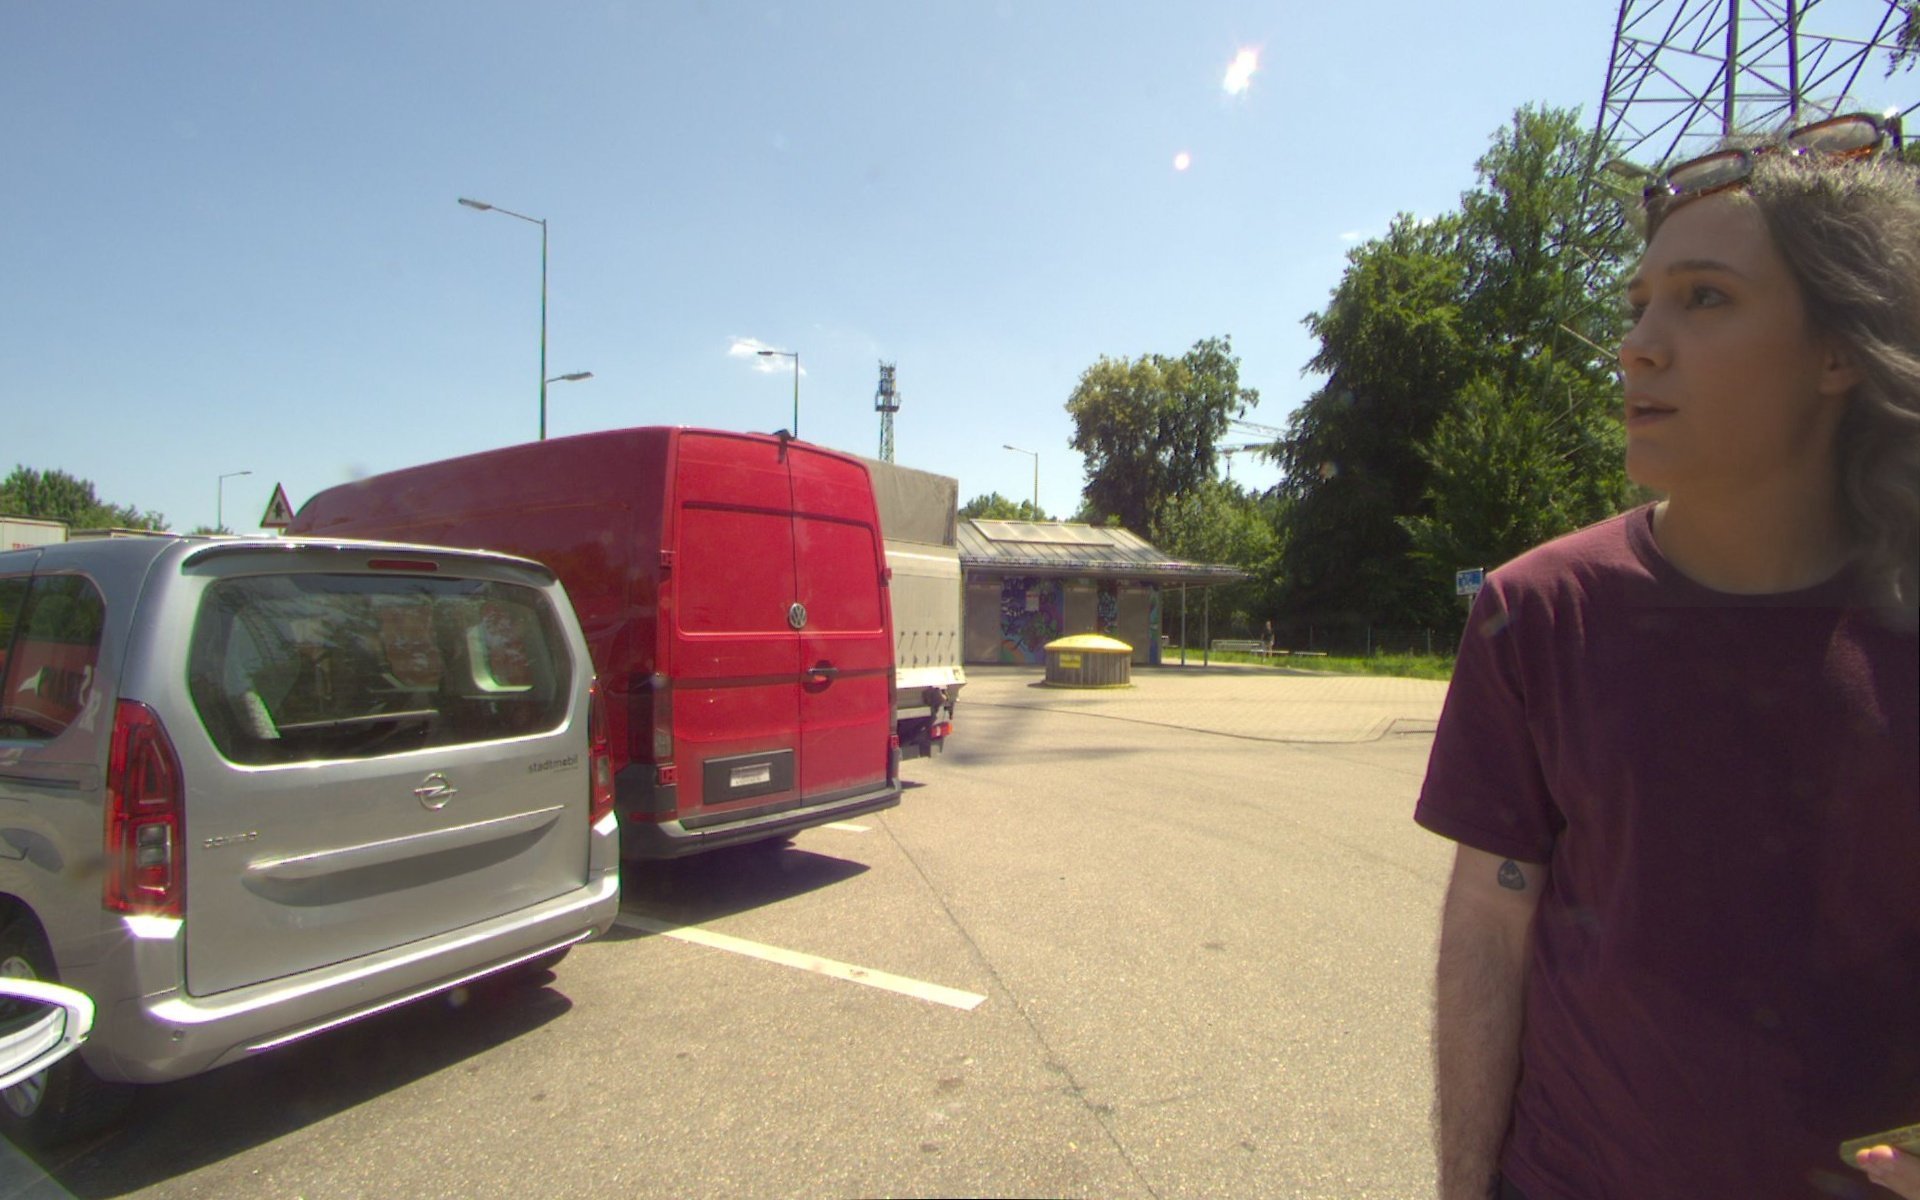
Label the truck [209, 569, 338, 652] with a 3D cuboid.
[{"bbox_3d":[-32.099,0.461,46.774,5.813,3.566,2.799,2,-2,32],"label":"truck"}]

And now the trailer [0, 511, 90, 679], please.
[{"bbox_3d":[-29.020,-0.264,28.156,14.184,4.040,2.808,2,-2,33],"label":"trailer"}]

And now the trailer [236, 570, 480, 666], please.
[{"bbox_3d":[-26.104,0.641,42.917,14.184,3.552,2.808,2,-2,33],"label":"trailer"}]

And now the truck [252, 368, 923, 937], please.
[{"bbox_3d":[-2.891,0.337,7.064,5.238,2.655,1.972,-2,-2,38],"label":"truck"}]

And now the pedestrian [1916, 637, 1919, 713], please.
[{"bbox_3d":[17.254,1.325,17.495,0.690,1.352,0.561,-1,-1,33],"label":"pedestrian"}]

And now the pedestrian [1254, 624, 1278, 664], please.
[{"bbox_3d":[12.888,1.849,42.175,0.728,1.658,0.787,-1,-2,38],"label":"pedestrian"}]

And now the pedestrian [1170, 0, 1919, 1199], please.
[{"bbox_3d":[0.763,0.572,0.835,0.851,1.857,0.858,-1,-2,39],"label":"pedestrian"}]

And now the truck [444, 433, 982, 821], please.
[{"bbox_3d":[-2.740,0.305,10.303,5.581,2.949,2.449,-2,-2,37],"label":"truck"}]

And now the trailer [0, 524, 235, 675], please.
[{"bbox_3d":[-27.957,-0.106,31.802,14.184,4.040,2.808,2,-2,33],"label":"trailer"}]

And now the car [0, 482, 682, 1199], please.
[{"bbox_3d":[-3.384,0.687,4.265,4.113,1.887,1.868,1,-2,31],"label":"car"}]
